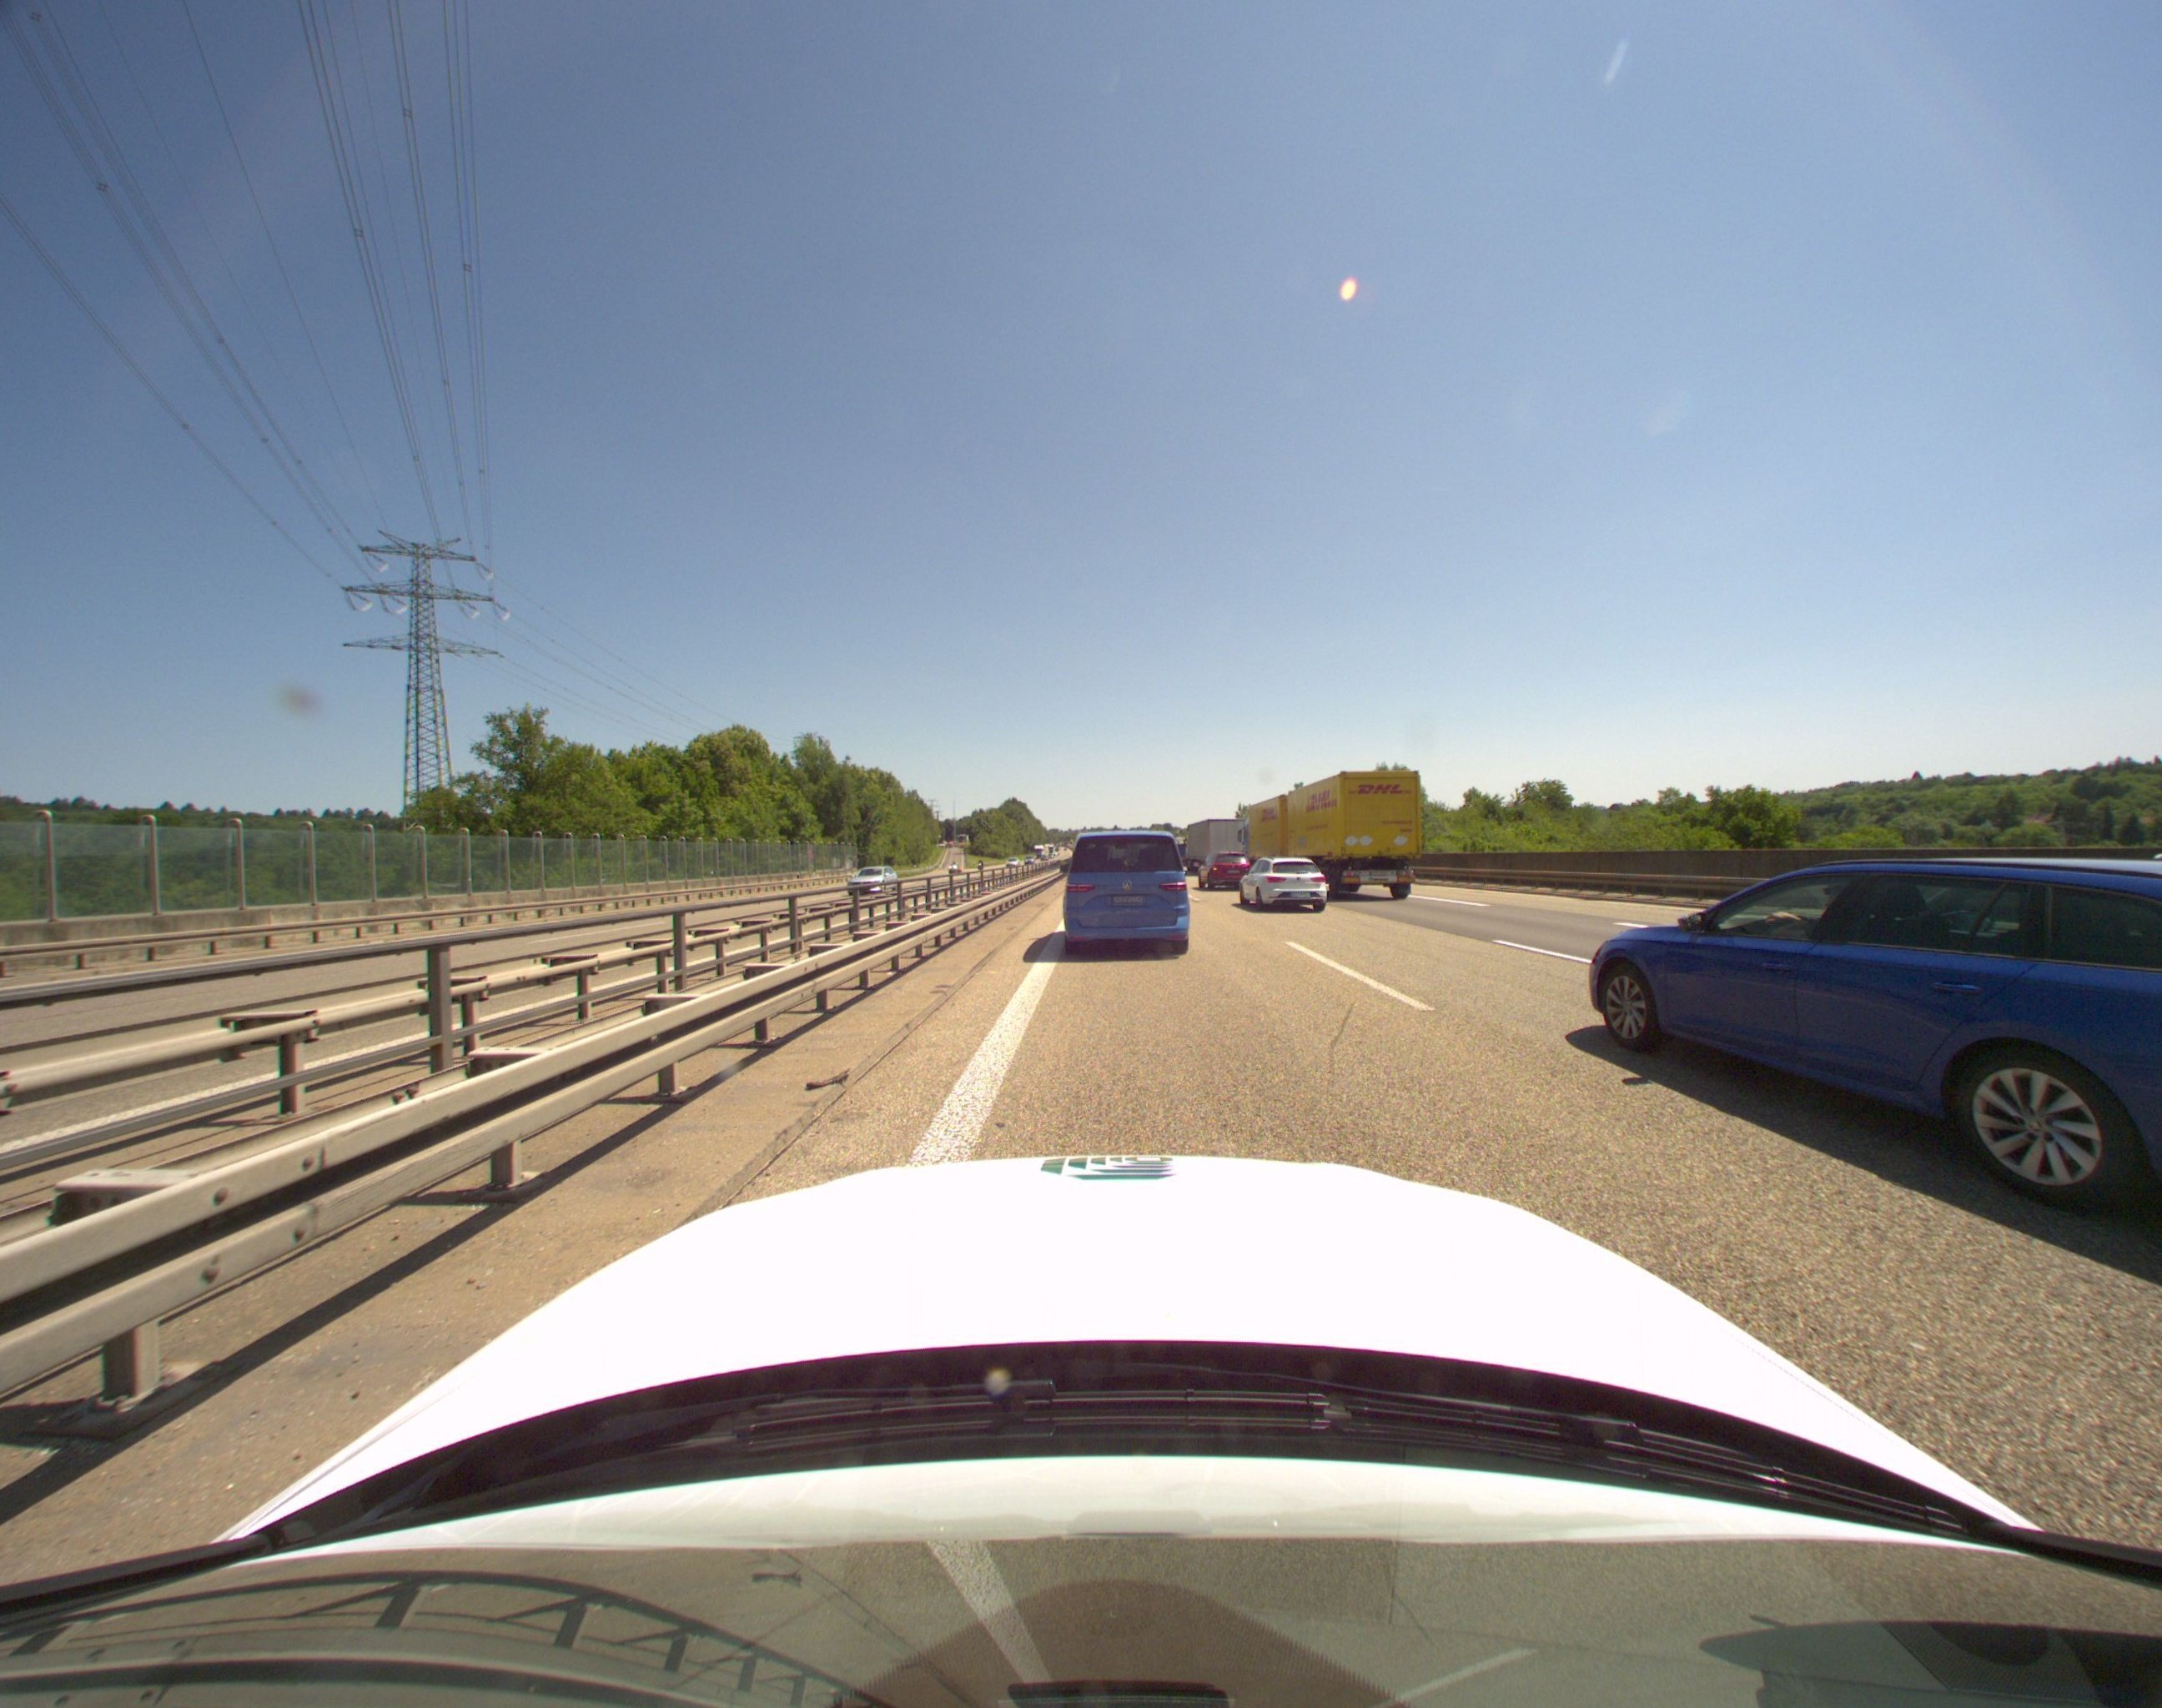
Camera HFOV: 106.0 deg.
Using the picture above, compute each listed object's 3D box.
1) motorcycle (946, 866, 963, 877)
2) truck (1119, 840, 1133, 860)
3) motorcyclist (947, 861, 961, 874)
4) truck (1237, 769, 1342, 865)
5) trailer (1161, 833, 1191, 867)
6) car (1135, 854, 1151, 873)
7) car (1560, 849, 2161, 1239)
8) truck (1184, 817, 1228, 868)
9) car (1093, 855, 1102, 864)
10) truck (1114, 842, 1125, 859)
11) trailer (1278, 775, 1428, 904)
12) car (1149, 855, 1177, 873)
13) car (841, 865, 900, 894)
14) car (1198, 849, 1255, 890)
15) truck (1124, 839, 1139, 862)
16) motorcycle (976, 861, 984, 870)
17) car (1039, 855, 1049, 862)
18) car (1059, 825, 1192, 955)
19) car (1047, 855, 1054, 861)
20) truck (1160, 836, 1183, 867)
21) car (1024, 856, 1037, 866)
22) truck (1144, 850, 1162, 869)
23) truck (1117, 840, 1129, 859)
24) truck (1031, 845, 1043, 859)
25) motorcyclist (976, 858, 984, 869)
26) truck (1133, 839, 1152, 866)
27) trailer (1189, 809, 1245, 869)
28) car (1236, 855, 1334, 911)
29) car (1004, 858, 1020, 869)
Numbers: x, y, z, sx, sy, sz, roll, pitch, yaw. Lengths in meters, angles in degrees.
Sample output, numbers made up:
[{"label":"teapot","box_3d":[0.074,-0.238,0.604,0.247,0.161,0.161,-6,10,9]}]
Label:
[{"label":"motorcycle","box_3d":[-13.937,1.883,89.918,1.361,1.099,2.577,-4,0,1]},{"label":"truck","box_3d":[11.658,-0.923,212.800,2.824,4.886,13.219,-2,0,0]},{"label":"motorcyclist","box_3d":[-13.977,1.474,89.688,1.182,1.256,1.119,-3,0,1]},{"label":"truck","box_3d":[9.786,-1.480,39.491,2.712,4.055,10.338,0,-1,1]},{"label":"trailer","box_3d":[10.978,-0.313,95.101,2.371,3.744,11.190,0,-1,1]},{"label":"car","box_3d":[6.528,0.992,86.010,1.577,2.014,3.494,0,-1,2]},{"label":"car","box_3d":[4.888,0.704,4.708,1.703,1.440,4.502,-1,0,2]},{"label":"truck","box_3d":[10.409,-0.850,68.486,2.758,4.096,6.986,0,-1,2]},{"label":"car","box_3d":[3.905,1.197,188.531,1.986,2.014,4.001,0,-1,1]},{"label":"truck","box_3d":[12.051,-1.005,255.039,2.824,5.040,12.912,-2,0,0]},{"label":"trailer","box_3d":[9.532,-0.397,29.802,2.692,4.024,8.932,0,-1,1]},{"label":"car","box_3d":[6.601,0.789,65.869,1.832,1.414,3.999,-1,0,0]},{"label":"car","box_3d":[-11.268,1.331,43.875,1.903,1.394,4.166,-3,-1,1]},{"label":"car","box_3d":[6.216,0.640,35.089,1.844,1.608,4.001,-1,0,2]},{"label":"truck","box_3d":[11.819,-0.716,190.065,2.824,5.040,11.815,0,-1,0]},{"label":"motorcycle","box_3d":[-13.897,1.562,112.559,0.699,1.070,2.306,-2,1,2]},{"label":"car","box_3d":[-8.811,1.033,193.719,1.823,1.609,4.169,-3,0,1]},{"label":"car","box_3d":[0.702,0.528,13.619,1.875,1.837,4.001,-1,0,2]},{"label":"car","box_3d":[-8.943,1.094,238.410,1.823,1.609,4.170,-2,0,1]},{"label":"truck","box_3d":[11.120,-0.272,100.755,2.359,3.722,6.034,0,-1,1]},{"label":"car","box_3d":[-9.014,1.293,146.360,1.823,1.609,4.169,-4,0,1]},{"label":"truck","box_3d":[12.598,1.033,142.490,2.348,3.218,9.739,0,-1,0]},{"label":"truck","box_3d":[12.021,-1.208,231.345,2.824,5.373,12.553,0,-1,0]},{"label":"truck","box_3d":[-13.337,-0.609,248.542,2.978,4.279,7.190,-2,0,1]},{"label":"motorcyclist","box_3d":[-13.891,1.364,112.533,0.895,1.441,1.082,-2,1,1]},{"label":"truck","box_3d":[12.048,-0.182,160.166,2.824,5.040,11.144,0,-1,0]},{"label":"trailer","box_3d":[10.208,-0.966,62.348,2.745,4.146,11.315,0,-1,2]},{"label":"car","box_3d":[5.541,0.739,22.620,1.774,1.387,4.189,-1,0,2]},{"label":"car","box_3d":[-10.018,1.414,118.202,1.709,1.434,4.177,-4,-1,1]}]
